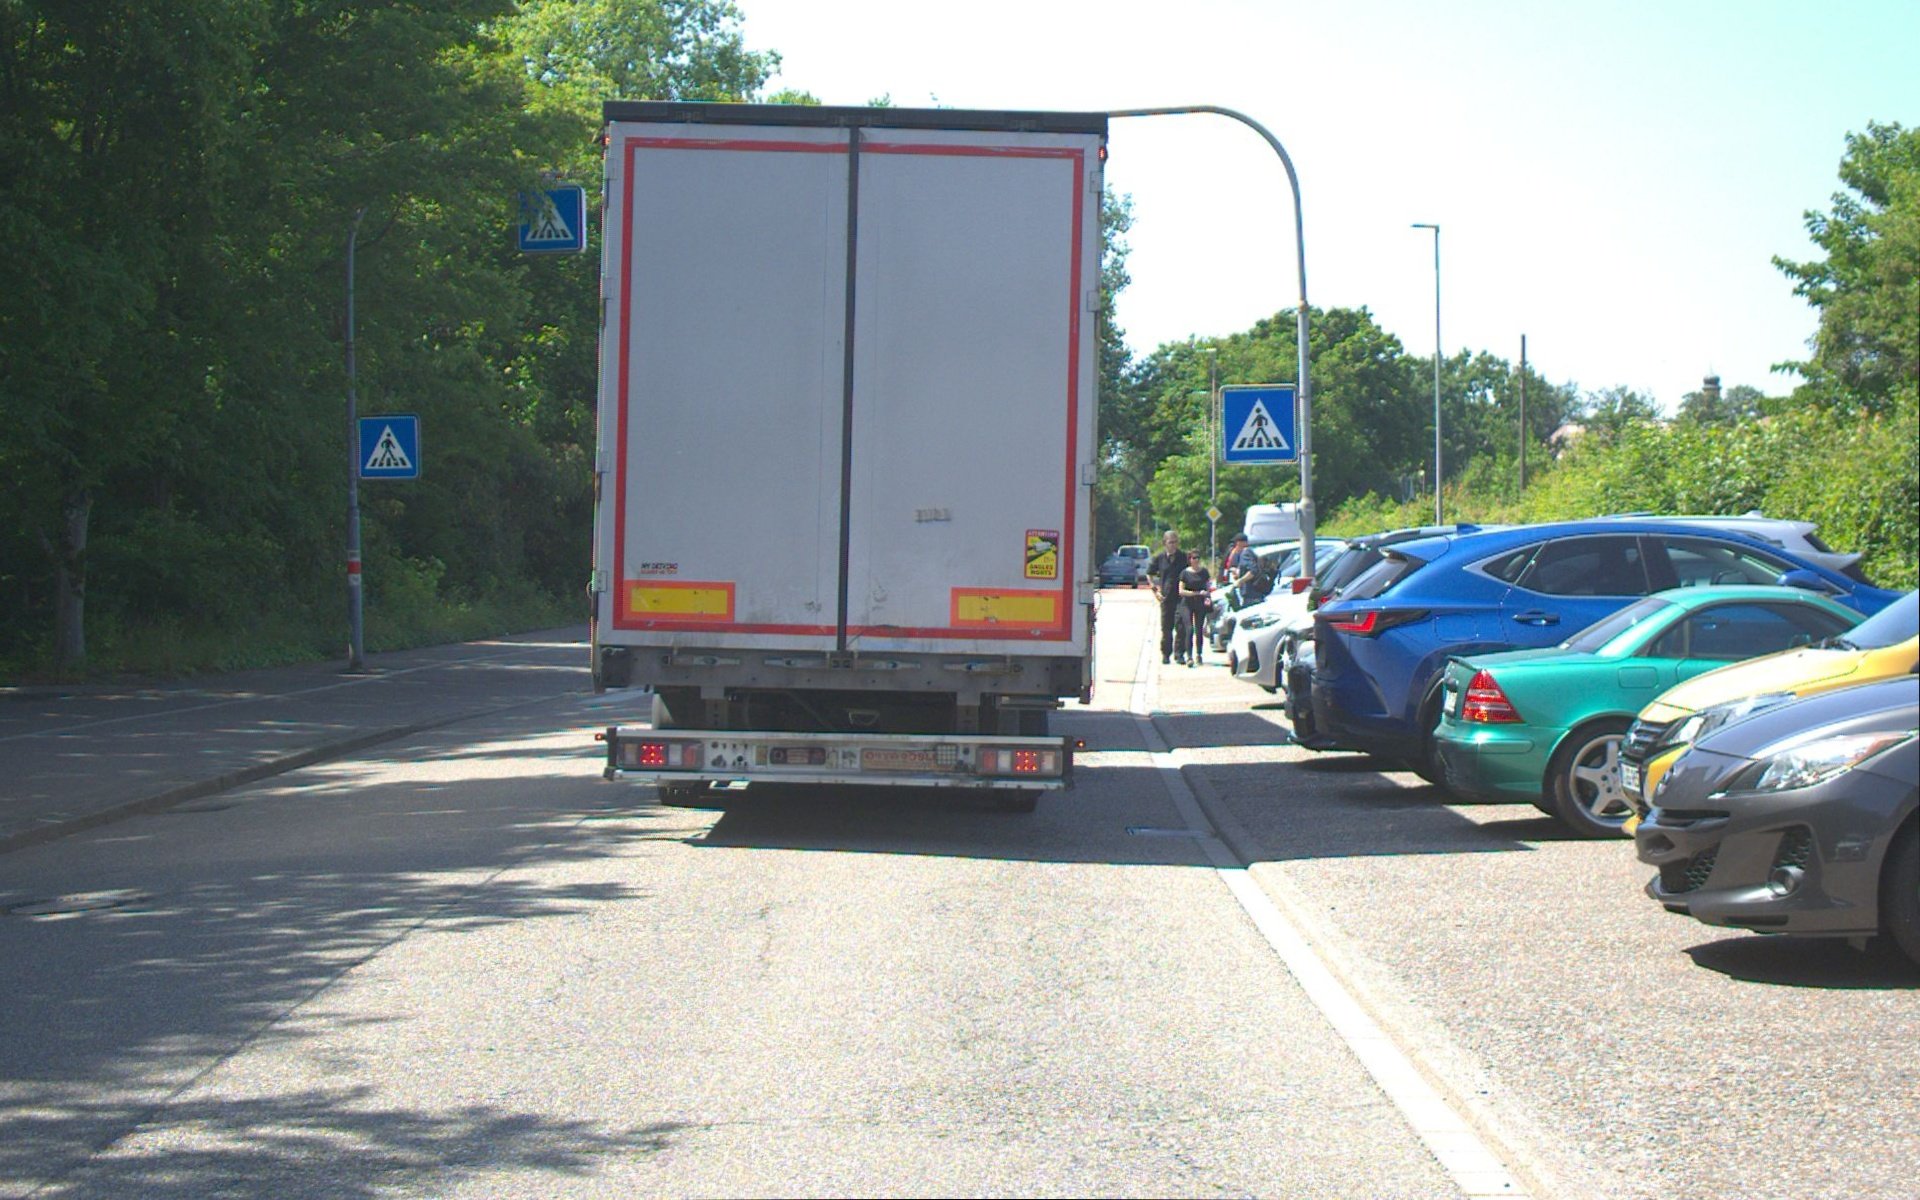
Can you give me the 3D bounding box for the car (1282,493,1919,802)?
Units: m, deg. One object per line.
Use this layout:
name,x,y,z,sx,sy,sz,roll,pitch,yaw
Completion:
car,4.216,0.246,21.055,4.238,1.628,1.823,-3,1,0

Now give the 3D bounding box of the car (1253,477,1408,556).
car,9.888,-2.219,91.884,3.957,1.792,1.813,-3,-1,4

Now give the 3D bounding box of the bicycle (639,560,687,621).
bicycle,-5.242,-0.181,60.740,0.454,1.043,2.203,0,1,5

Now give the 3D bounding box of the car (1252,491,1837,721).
car,4.531,0.051,27.112,4.235,1.648,1.900,-1,0,0

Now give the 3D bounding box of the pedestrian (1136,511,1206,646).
pedestrian,2.954,-0.304,48.096,0.822,1.828,0.792,-4,1,7

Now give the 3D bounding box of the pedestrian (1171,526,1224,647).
pedestrian,3.262,-0.190,47.178,0.589,1.609,0.744,-4,1,7

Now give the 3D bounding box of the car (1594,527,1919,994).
car,4.507,0.451,12.081,4.163,1.490,1.883,-2,1,0

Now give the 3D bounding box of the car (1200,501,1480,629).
car,5.804,-0.556,52.817,3.956,1.662,1.814,-3,3,-3

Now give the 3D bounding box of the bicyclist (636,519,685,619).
bicyclist,-5.265,-0.546,60.464,0.717,1.752,0.796,0,1,5

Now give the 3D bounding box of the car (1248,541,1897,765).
car,4.245,0.338,24.170,4.129,1.434,1.815,-1,1,-7

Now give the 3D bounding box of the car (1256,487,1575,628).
car,6.192,-0.581,47.014,3.956,1.662,1.814,-3,1,-4

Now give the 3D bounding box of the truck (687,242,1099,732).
truck,-0.449,-0.944,29.442,3.114,3.712,6.414,0,2,1

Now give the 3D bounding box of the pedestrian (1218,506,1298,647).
pedestrian,3.958,-0.315,45.608,0.908,1.792,0.935,-4,1,7

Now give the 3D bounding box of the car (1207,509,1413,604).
car,7.233,-0.911,71.221,3.956,1.759,1.814,-3,1,-2

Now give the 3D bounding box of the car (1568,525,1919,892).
car,4.777,0.369,15.167,3.801,1.450,1.774,-3,1,0

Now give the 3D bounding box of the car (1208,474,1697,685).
car,4.773,-0.208,33.767,4.404,1.692,1.877,-4,1,-1

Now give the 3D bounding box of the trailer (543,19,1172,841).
trailer,-0.493,-1.003,22.977,3.112,4.088,11.537,0,2,0

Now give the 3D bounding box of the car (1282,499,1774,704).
car,5.074,-0.003,31.143,4.125,1.651,1.887,-2,1,2

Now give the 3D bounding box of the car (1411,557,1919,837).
car,4.387,0.460,18.279,3.735,1.264,1.628,-3,1,2

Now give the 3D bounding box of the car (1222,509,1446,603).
car,7.077,-0.846,65.276,3.956,1.613,1.814,-2,1,-2
